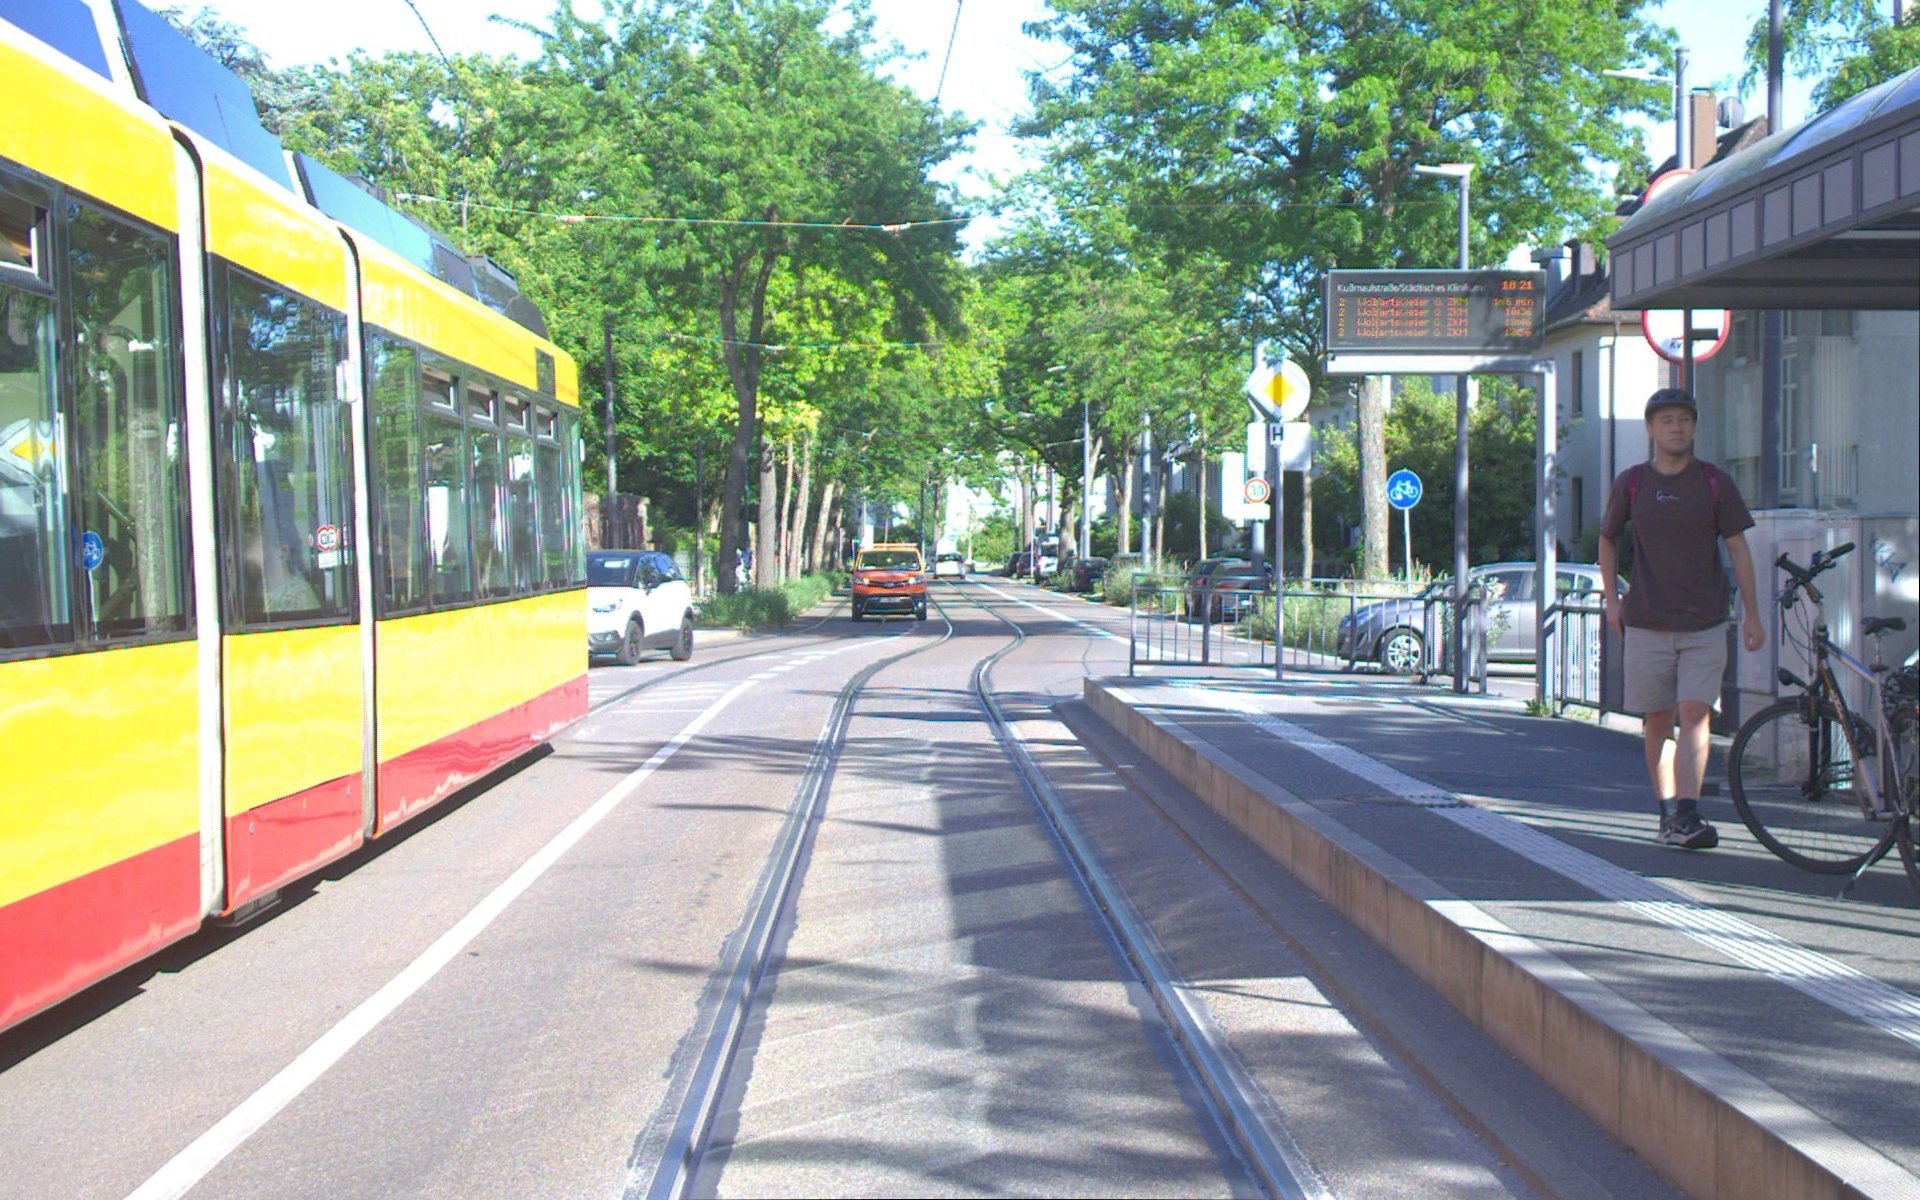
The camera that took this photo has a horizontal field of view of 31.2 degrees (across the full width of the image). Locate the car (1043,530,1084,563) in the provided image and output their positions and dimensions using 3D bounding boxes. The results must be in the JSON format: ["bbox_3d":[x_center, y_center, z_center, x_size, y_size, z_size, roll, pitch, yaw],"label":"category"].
[{"bbox_3d":[4.764,-2.468,157.942,1.627,1.393,3.646,-3,1,-1],"label":"car"}]

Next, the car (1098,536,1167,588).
[{"bbox_3d":[6.099,-1.364,121.738,1.993,1.698,4.478,-3,1,-2],"label":"car"}]

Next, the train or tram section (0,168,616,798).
[{"bbox_3d":[-3.932,-0.702,22.267,2.803,3.448,6.669,0,1,-1],"label":"train or tram section"}]

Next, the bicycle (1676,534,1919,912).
[{"bbox_3d":[3.124,0.385,12.130,0.619,1.225,1.967,1,1,-5],"label":"bicycle"}]

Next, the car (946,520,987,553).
[{"bbox_3d":[0.457,-4.725,257.376,1.993,2.449,4.510,-1,1,-14],"label":"car"}]

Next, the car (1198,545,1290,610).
[{"bbox_3d":[6.848,-0.567,83.246,1.748,1.490,4.444,-1,1,-1],"label":"car"}]

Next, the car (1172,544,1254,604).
[{"bbox_3d":[6.531,-0.682,89.036,1.748,1.490,3.997,-1,1,-1],"label":"car"}]

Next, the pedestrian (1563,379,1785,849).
[{"bbox_3d":[2.890,0.050,13.982,0.711,1.847,0.729,1,1,1],"label":"pedestrian"}]

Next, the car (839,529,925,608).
[{"bbox_3d":[-2.014,-0.818,87.311,1.993,1.959,4.935,0,1,-3],"label":"car"}]

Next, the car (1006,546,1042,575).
[{"bbox_3d":[3.920,-2.422,211.503,2.003,1.669,4.392,-2,1,-1],"label":"car"}]

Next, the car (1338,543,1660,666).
[{"bbox_3d":[6.915,0.037,44.222,3.988,1.503,1.981,0,1,9],"label":"car"}]

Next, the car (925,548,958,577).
[{"bbox_3d":[-1.086,-2.195,202.410,1.866,1.669,4.173,-1,1,-2],"label":"car"}]

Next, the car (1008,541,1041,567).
[{"bbox_3d":[4.276,-3.081,229.005,2.003,1.669,4.392,-2,1,3],"label":"car"}]

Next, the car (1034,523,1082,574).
[{"bbox_3d":[5.098,-2.697,179.304,2.245,2.645,5.586,0,1,-1],"label":"car"}]

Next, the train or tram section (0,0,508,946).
[{"bbox_3d":[-3.852,-0.562,15.567,2.803,3.448,6.669,0,1,-1],"label":"train or tram section"}]

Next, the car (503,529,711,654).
[{"bbox_3d":[-4.852,-0.144,47.863,1.765,1.658,4.208,0,1,10],"label":"car"}]

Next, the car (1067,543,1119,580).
[{"bbox_3d":[5.717,-1.666,148.287,1.784,1.443,4.302,-3,1,-3],"label":"car"}]

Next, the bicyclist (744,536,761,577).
[{"bbox_3d":[-7.759,-1.630,128.542,0.593,1.522,1.061,0,1,0],"label":"bicyclist"}]

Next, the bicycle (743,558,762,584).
[{"bbox_3d":[-7.760,-1.098,128.462,0.589,0.957,2.132,0,1,0],"label":"bicycle"}]

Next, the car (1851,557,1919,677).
[{"bbox_3d":[13.463,0.214,42.522,4.605,1.461,1.981,0,-1,11],"label":"car"}]

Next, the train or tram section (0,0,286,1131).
[{"bbox_3d":[-3.759,-0.434,8.871,2.803,3.448,6.669,0,1,-1],"label":"train or tram section"}]
